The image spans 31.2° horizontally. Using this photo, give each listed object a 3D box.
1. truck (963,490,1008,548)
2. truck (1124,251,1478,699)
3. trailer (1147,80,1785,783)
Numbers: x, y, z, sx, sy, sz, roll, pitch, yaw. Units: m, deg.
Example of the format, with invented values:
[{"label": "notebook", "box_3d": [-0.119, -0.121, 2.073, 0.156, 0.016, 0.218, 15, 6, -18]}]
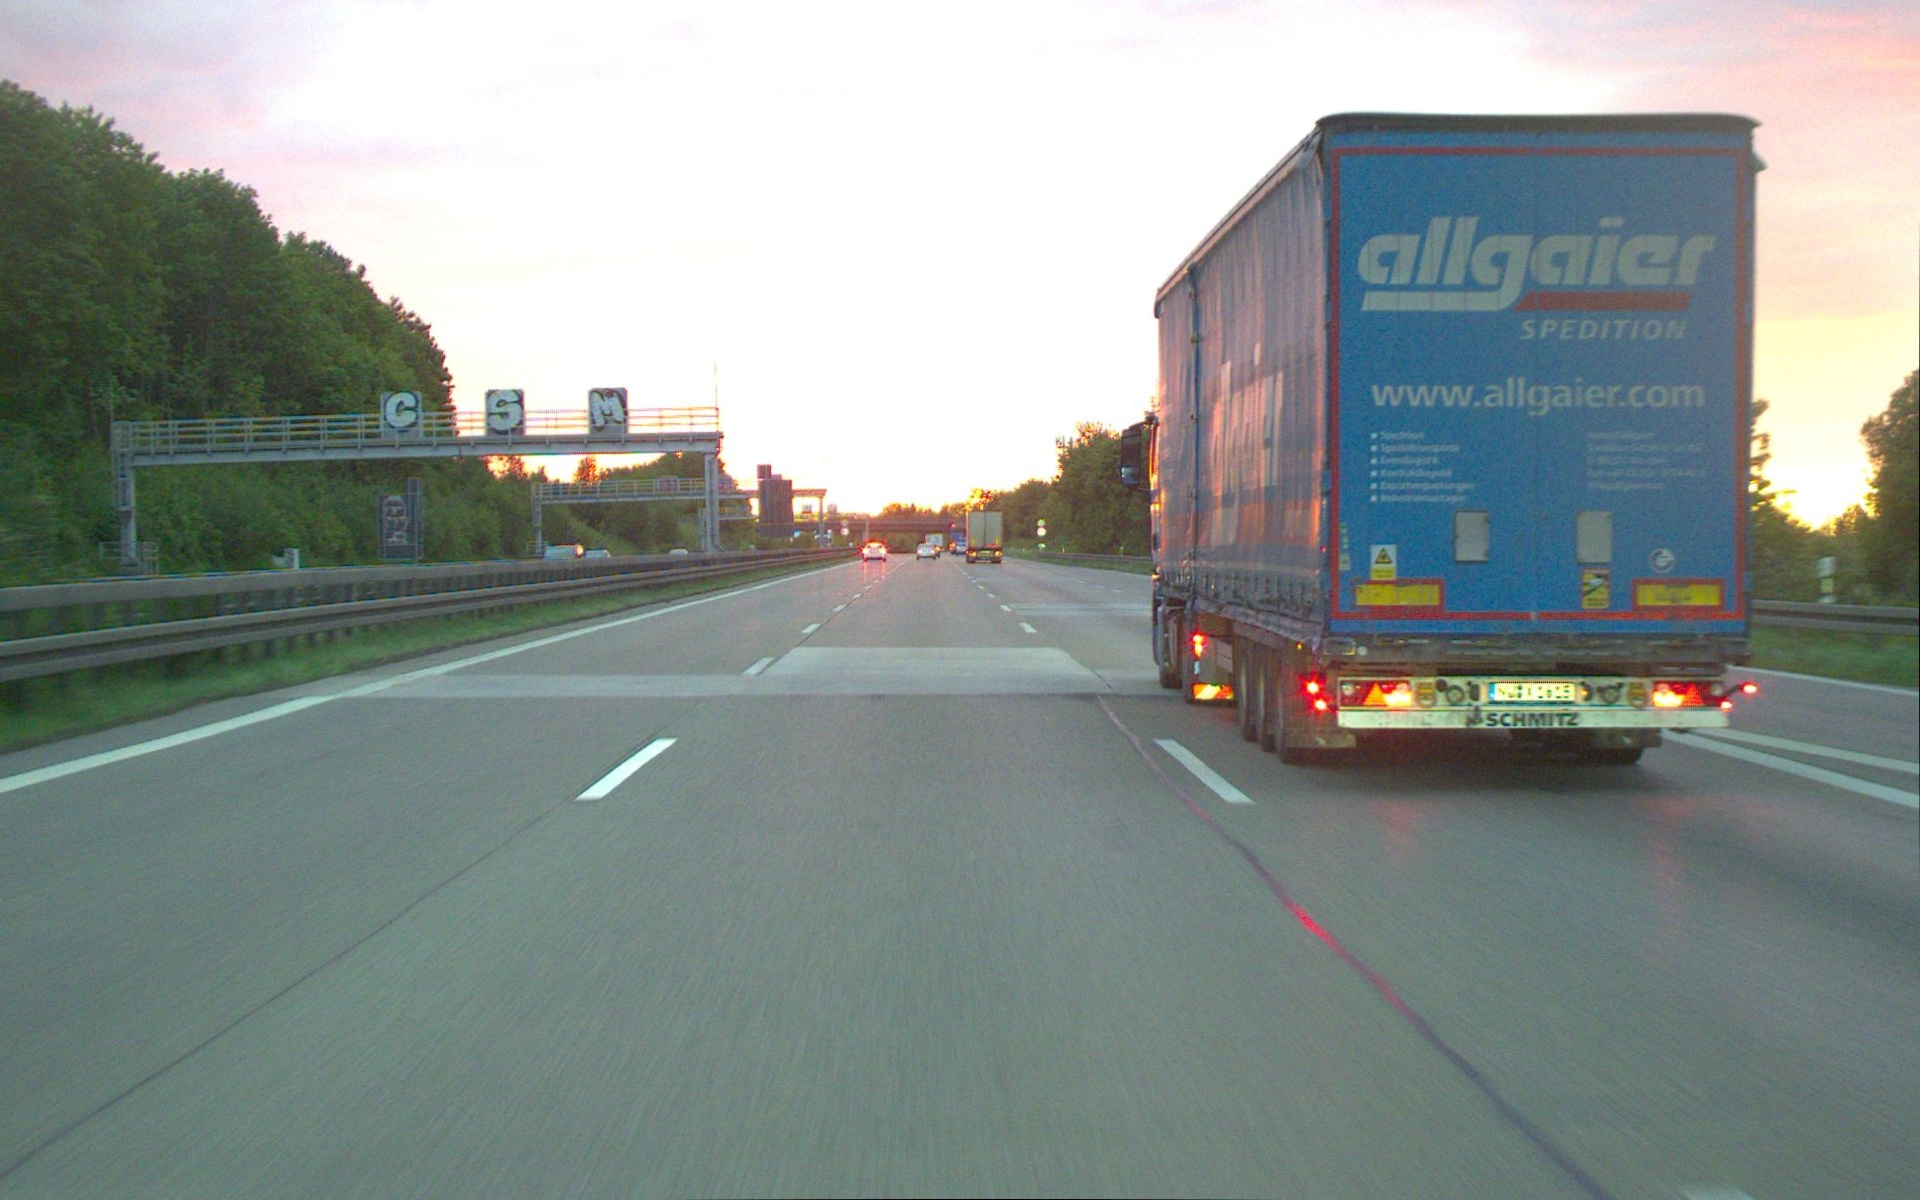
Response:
[{"label": "truck", "box_3d": [1.923, -5.982, 255.631, 3.244, 4.113, 9.786, -1, 1, 1]}, {"label": "truck", "box_3d": [3.190, -1.160, 33.664, 2.736, 3.983, 5.850, 0, 1, -1]}, {"label": "trailer", "box_3d": [3.322, -1.081, 26.907, 2.771, 4.072, 13.740, 0, 1, -1]}]
